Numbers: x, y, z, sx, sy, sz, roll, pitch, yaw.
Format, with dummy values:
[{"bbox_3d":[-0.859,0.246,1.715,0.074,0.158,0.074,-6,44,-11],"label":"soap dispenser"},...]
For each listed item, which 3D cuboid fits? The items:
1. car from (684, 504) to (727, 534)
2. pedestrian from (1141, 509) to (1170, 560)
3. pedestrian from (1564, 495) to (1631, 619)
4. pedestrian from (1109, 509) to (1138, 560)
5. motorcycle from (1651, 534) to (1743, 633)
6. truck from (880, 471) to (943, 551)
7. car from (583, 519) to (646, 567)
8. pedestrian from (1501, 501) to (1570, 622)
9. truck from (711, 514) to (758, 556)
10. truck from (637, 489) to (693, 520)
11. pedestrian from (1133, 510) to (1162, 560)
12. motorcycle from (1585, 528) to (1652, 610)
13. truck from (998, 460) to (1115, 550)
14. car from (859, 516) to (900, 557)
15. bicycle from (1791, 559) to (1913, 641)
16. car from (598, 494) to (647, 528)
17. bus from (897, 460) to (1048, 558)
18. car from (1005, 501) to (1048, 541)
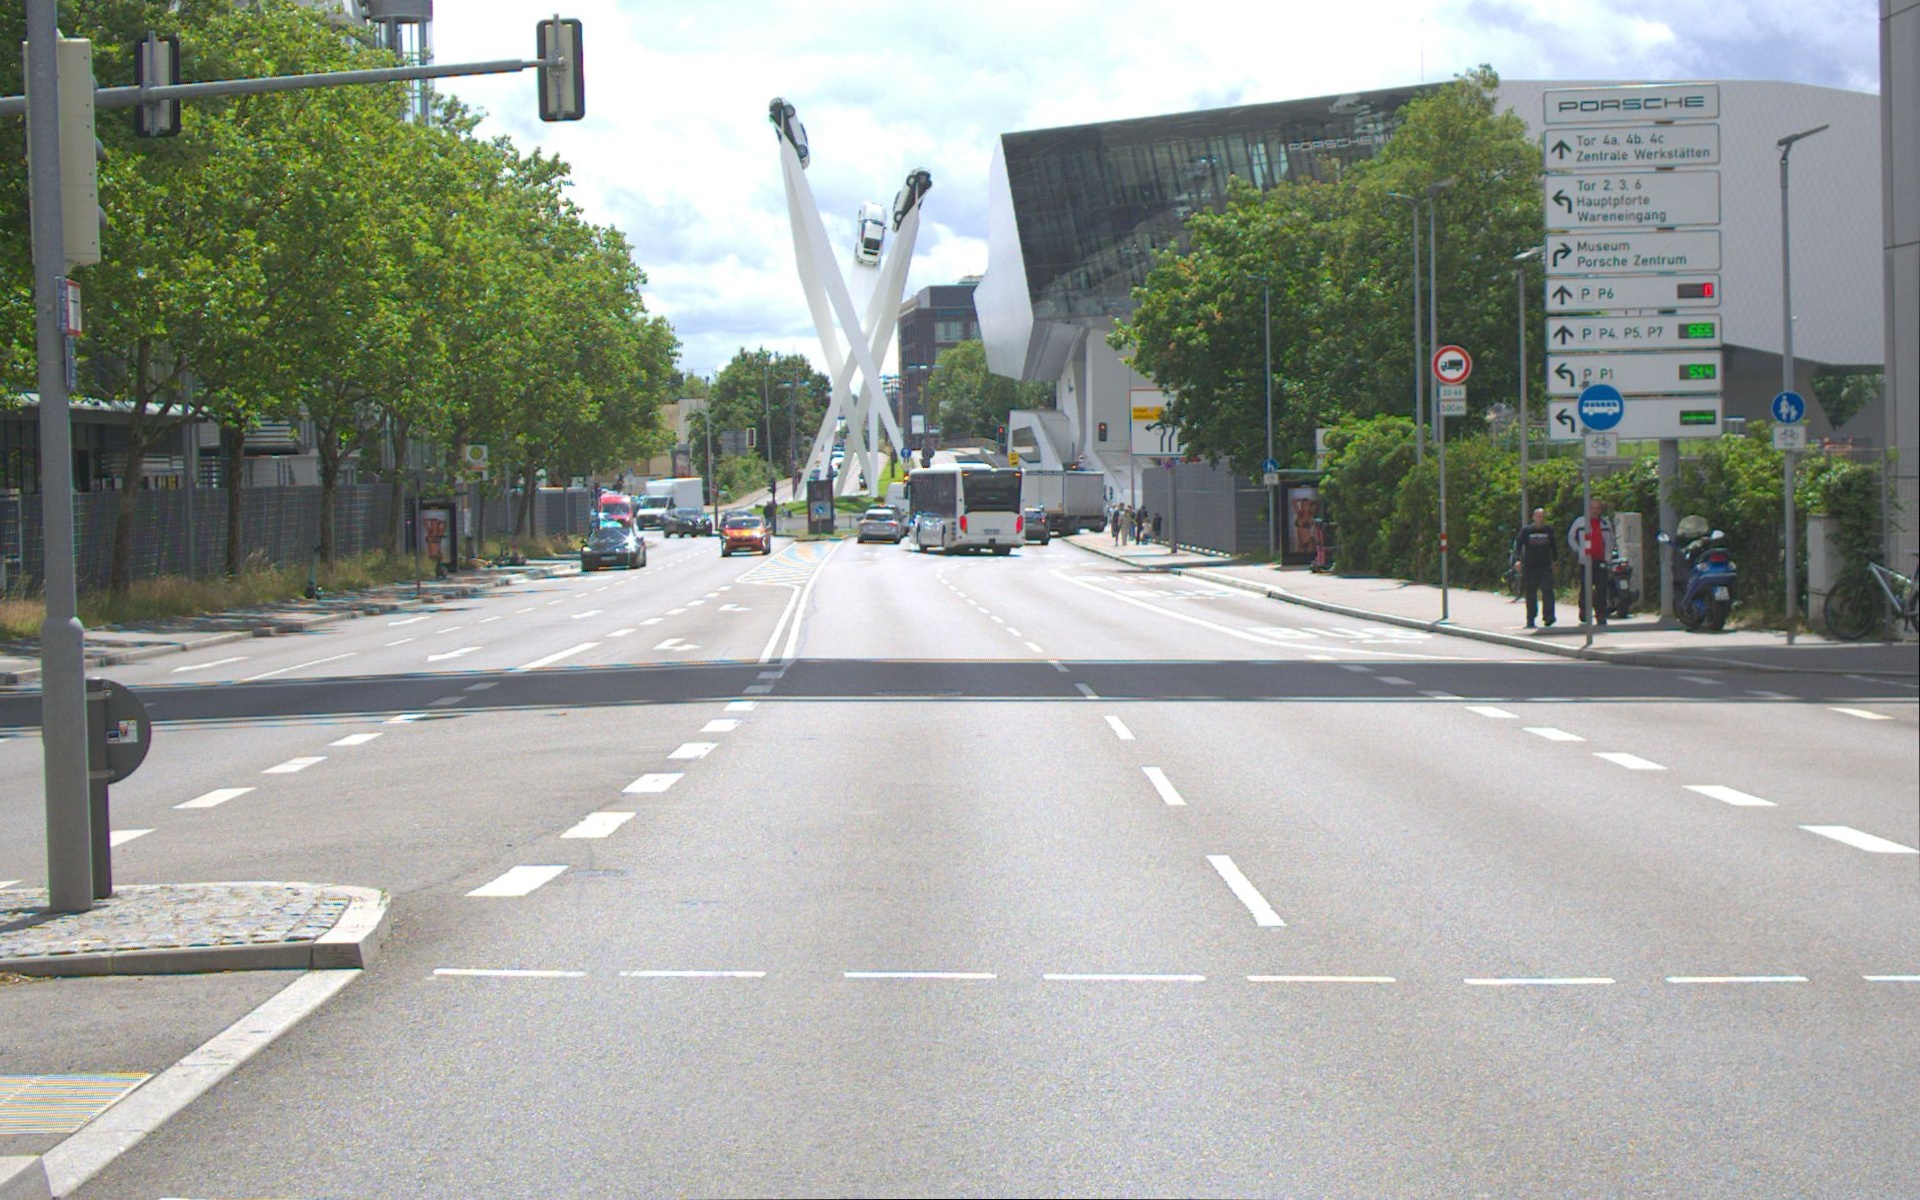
[{"bbox_3d":[-13.599,-4.327,183.808,1.818,1.532,3.679,-2,1,-11],"label":"car"},{"bbox_3d":[7.816,-2.618,137.737,1.028,2.007,0.885,1,0,-4],"label":"pedestrian"},{"bbox_3d":[9.004,-0.609,48.545,0.820,1.735,0.637,0,1,-1],"label":"pedestrian"},{"bbox_3d":[6.547,-2.634,137.781,1.028,2.007,0.885,1,0,-4],"label":"pedestrian"},{"bbox_3d":[9.612,-0.231,44.884,0.706,1.199,2.024,-2,2,-1],"label":"motorcycle"},{"bbox_3d":[-2.384,-4.433,172.091,2.393,3.884,6.176,0,1,6],"label":"truck"},{"bbox_3d":[-11.623,-1.918,115.902,1.818,1.532,3.679,-2,1,-2],"label":"car"},{"bbox_3d":[8.138,-0.549,48.658,0.820,1.701,0.881,0,1,-1],"label":"pedestrian"},{"bbox_3d":[-8.433,-2.435,128.320,1.583,1.532,3.679,0,1,-6],"label":"truck"},{"bbox_3d":[-18.987,-6.131,221.078,1.761,2.007,4.438,0,1,22],"label":"truck"},{"bbox_3d":[7.571,-2.619,138.834,1.028,2.007,0.885,1,0,-4],"label":"pedestrian"},{"bbox_3d":[10.094,-0.486,52.741,0.574,1.199,2.024,-2,2,-1],"label":"motorcycle"},{"bbox_3d":[4.886,-4.694,171.629,3.455,4.376,9.412,0,1,17],"label":"truck"},{"bbox_3d":[-3.474,-2.745,148.746,1.738,1.735,3.691,0,1,-1],"label":"car"},{"bbox_3d":[10.618,-0.012,40.964,0.397,0.933,1.929,0,1,-19],"label":"bicycle"},{"bbox_3d":[-20.102,-5.304,204.780,1.994,2.007,3.999,0,1,9],"label":"car"},{"bbox_3d":[0.372,-3.404,129.363,3.451,3.531,10.609,0,1,-12],"label":"bus"},{"bbox_3d":[2.885,-3.430,149.450,1.738,1.735,3.691,0,1,-1],"label":"car"}]
